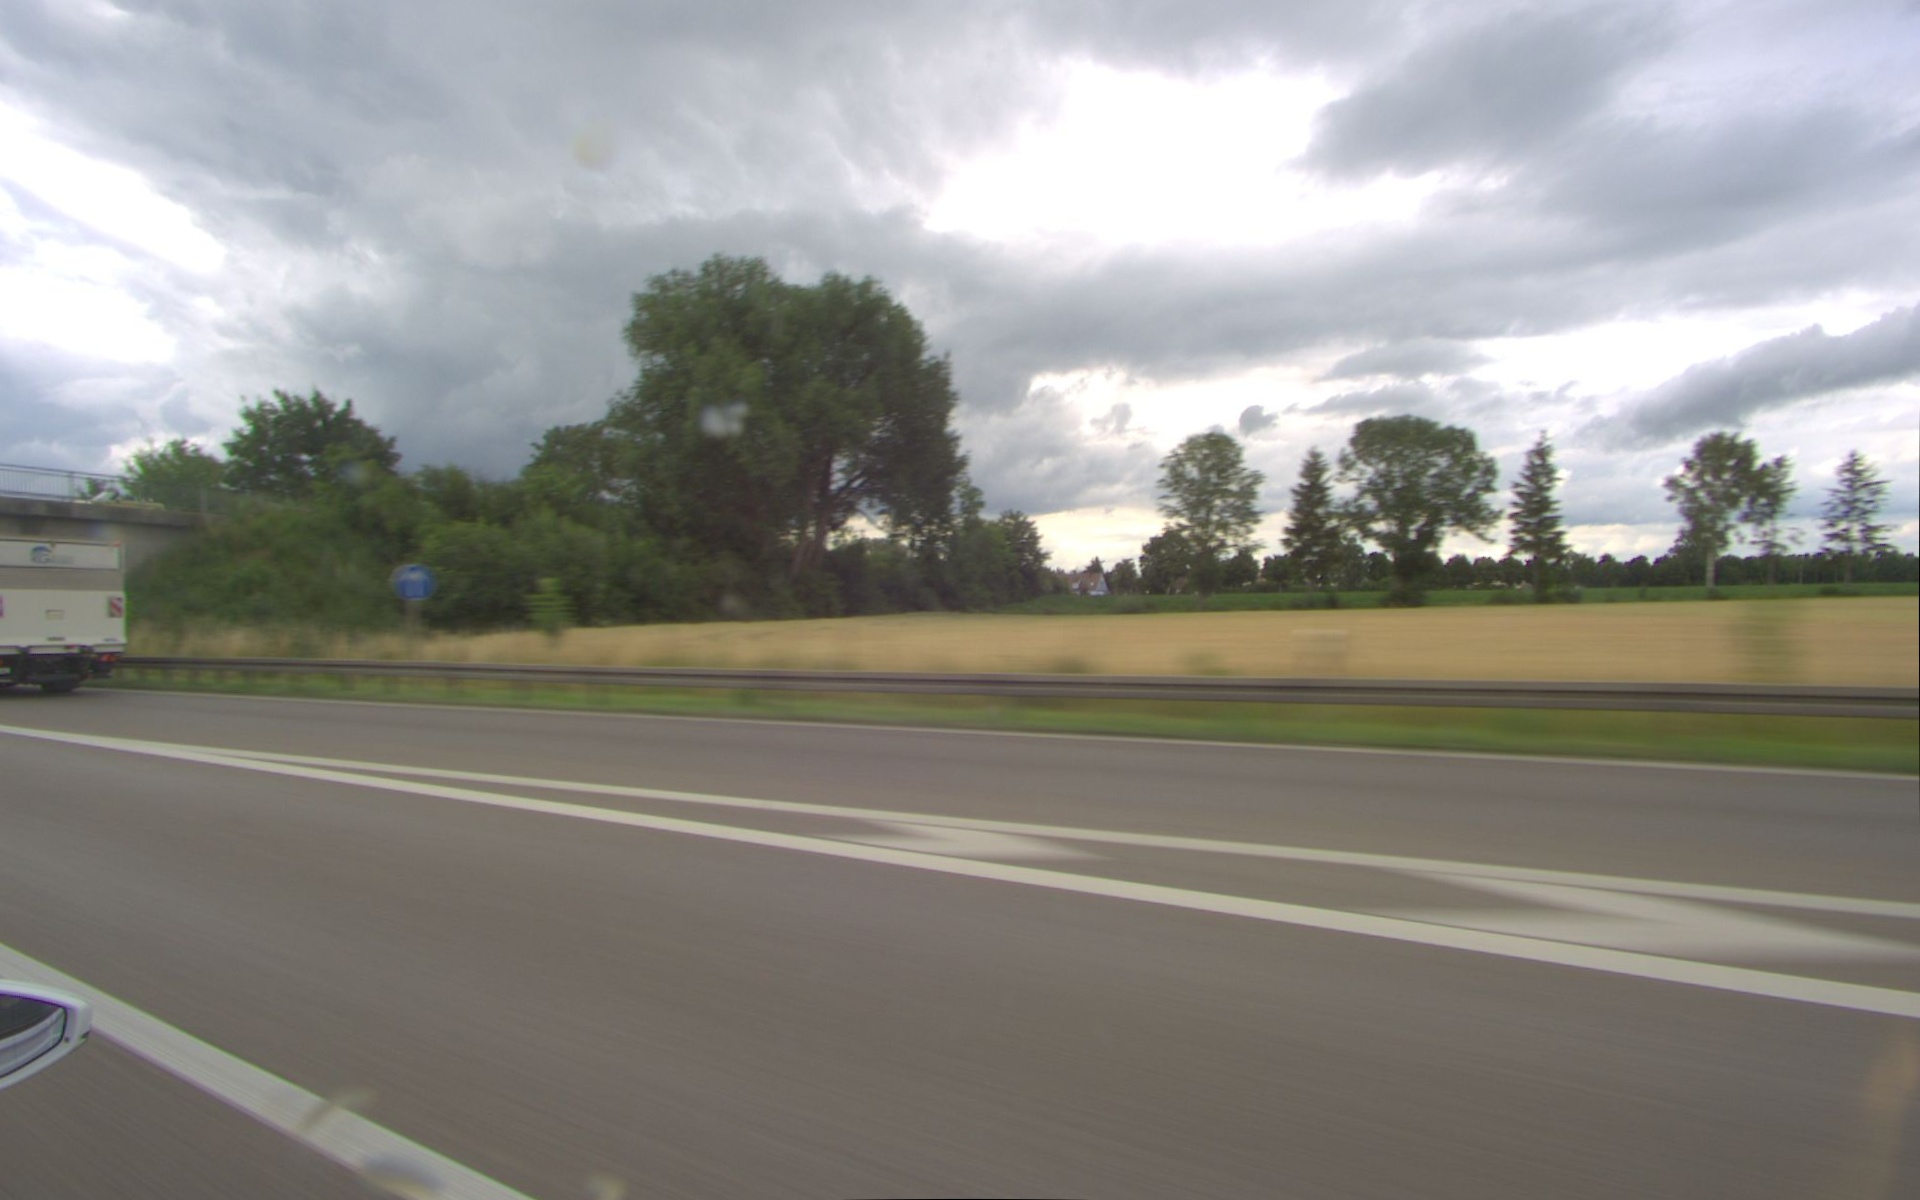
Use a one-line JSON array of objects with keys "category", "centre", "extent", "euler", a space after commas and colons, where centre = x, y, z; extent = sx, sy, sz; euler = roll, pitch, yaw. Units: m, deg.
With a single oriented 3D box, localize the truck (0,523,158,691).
[{"category": "truck", "centre": [-23.271, 0.253, 24.205], "extent": [8.758, 3.515, 3.101], "euler": [-1, -2, 30]}]
